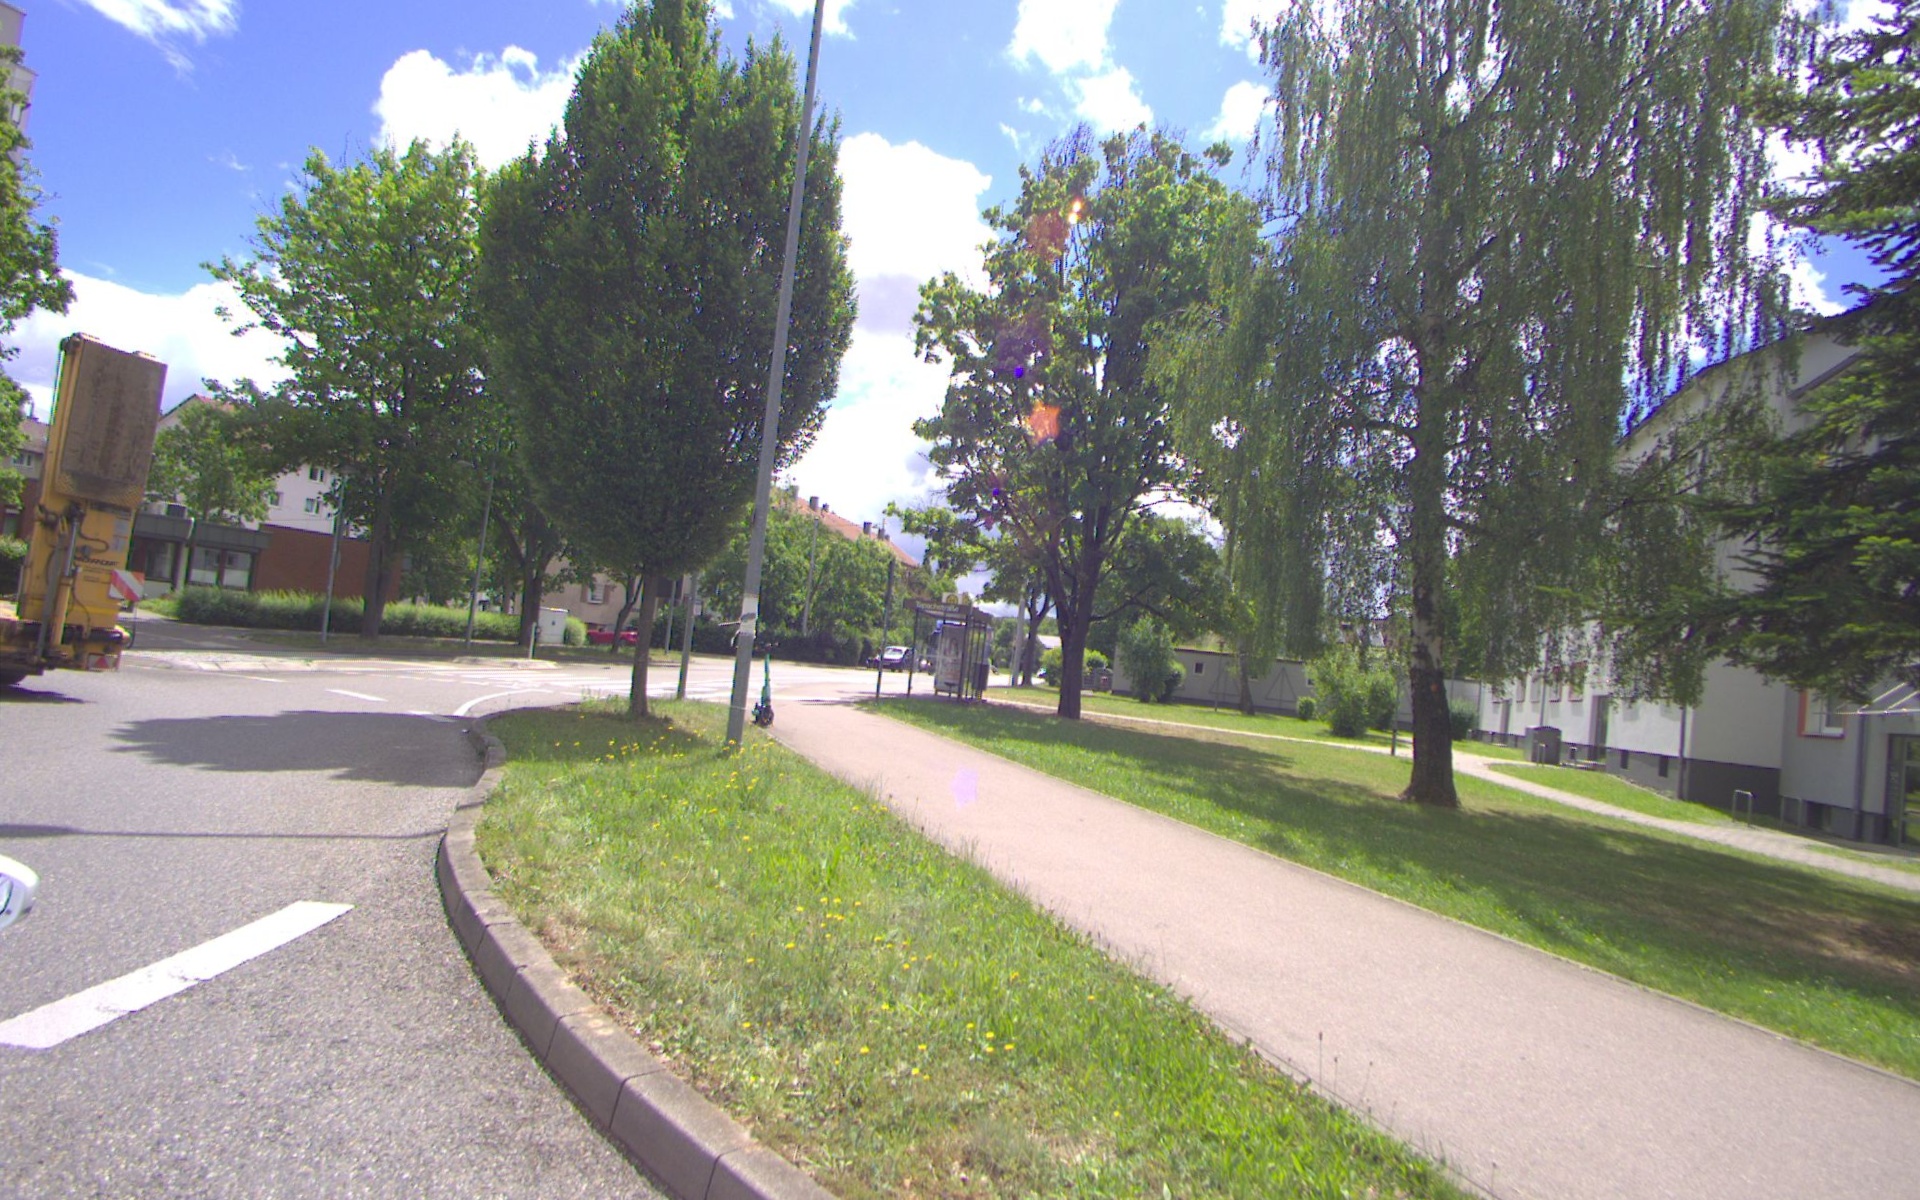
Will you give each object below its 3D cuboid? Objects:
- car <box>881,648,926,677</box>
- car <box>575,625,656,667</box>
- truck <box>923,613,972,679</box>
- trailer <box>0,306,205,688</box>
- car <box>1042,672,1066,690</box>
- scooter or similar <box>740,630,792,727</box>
[{"bbox_3d":[-3.914,4.385,70.350,1.962,1.569,4.010,6,-5,13],"label":"car"},{"bbox_3d":[-20.427,2.747,59.760,3.925,1.962,2.022,6,-4,18],"label":"car"},{"bbox_3d":[-0.787,3.507,73.705,2.737,4.197,9.815,6,-4,2],"label":"truck"},{"bbox_3d":[-13.518,-1.259,11.827,10.655,3.408,2.874,4,-5,28],"label":"trailer"},{"bbox_3d":[11.334,9.718,120.881,1.962,1.799,4.009,6,-5,17],"label":"car"},{"bbox_3d":[-3.010,1.180,15.533,0.479,1.359,1.383,6,-1,-19],"label":"scooter or similar"}]
